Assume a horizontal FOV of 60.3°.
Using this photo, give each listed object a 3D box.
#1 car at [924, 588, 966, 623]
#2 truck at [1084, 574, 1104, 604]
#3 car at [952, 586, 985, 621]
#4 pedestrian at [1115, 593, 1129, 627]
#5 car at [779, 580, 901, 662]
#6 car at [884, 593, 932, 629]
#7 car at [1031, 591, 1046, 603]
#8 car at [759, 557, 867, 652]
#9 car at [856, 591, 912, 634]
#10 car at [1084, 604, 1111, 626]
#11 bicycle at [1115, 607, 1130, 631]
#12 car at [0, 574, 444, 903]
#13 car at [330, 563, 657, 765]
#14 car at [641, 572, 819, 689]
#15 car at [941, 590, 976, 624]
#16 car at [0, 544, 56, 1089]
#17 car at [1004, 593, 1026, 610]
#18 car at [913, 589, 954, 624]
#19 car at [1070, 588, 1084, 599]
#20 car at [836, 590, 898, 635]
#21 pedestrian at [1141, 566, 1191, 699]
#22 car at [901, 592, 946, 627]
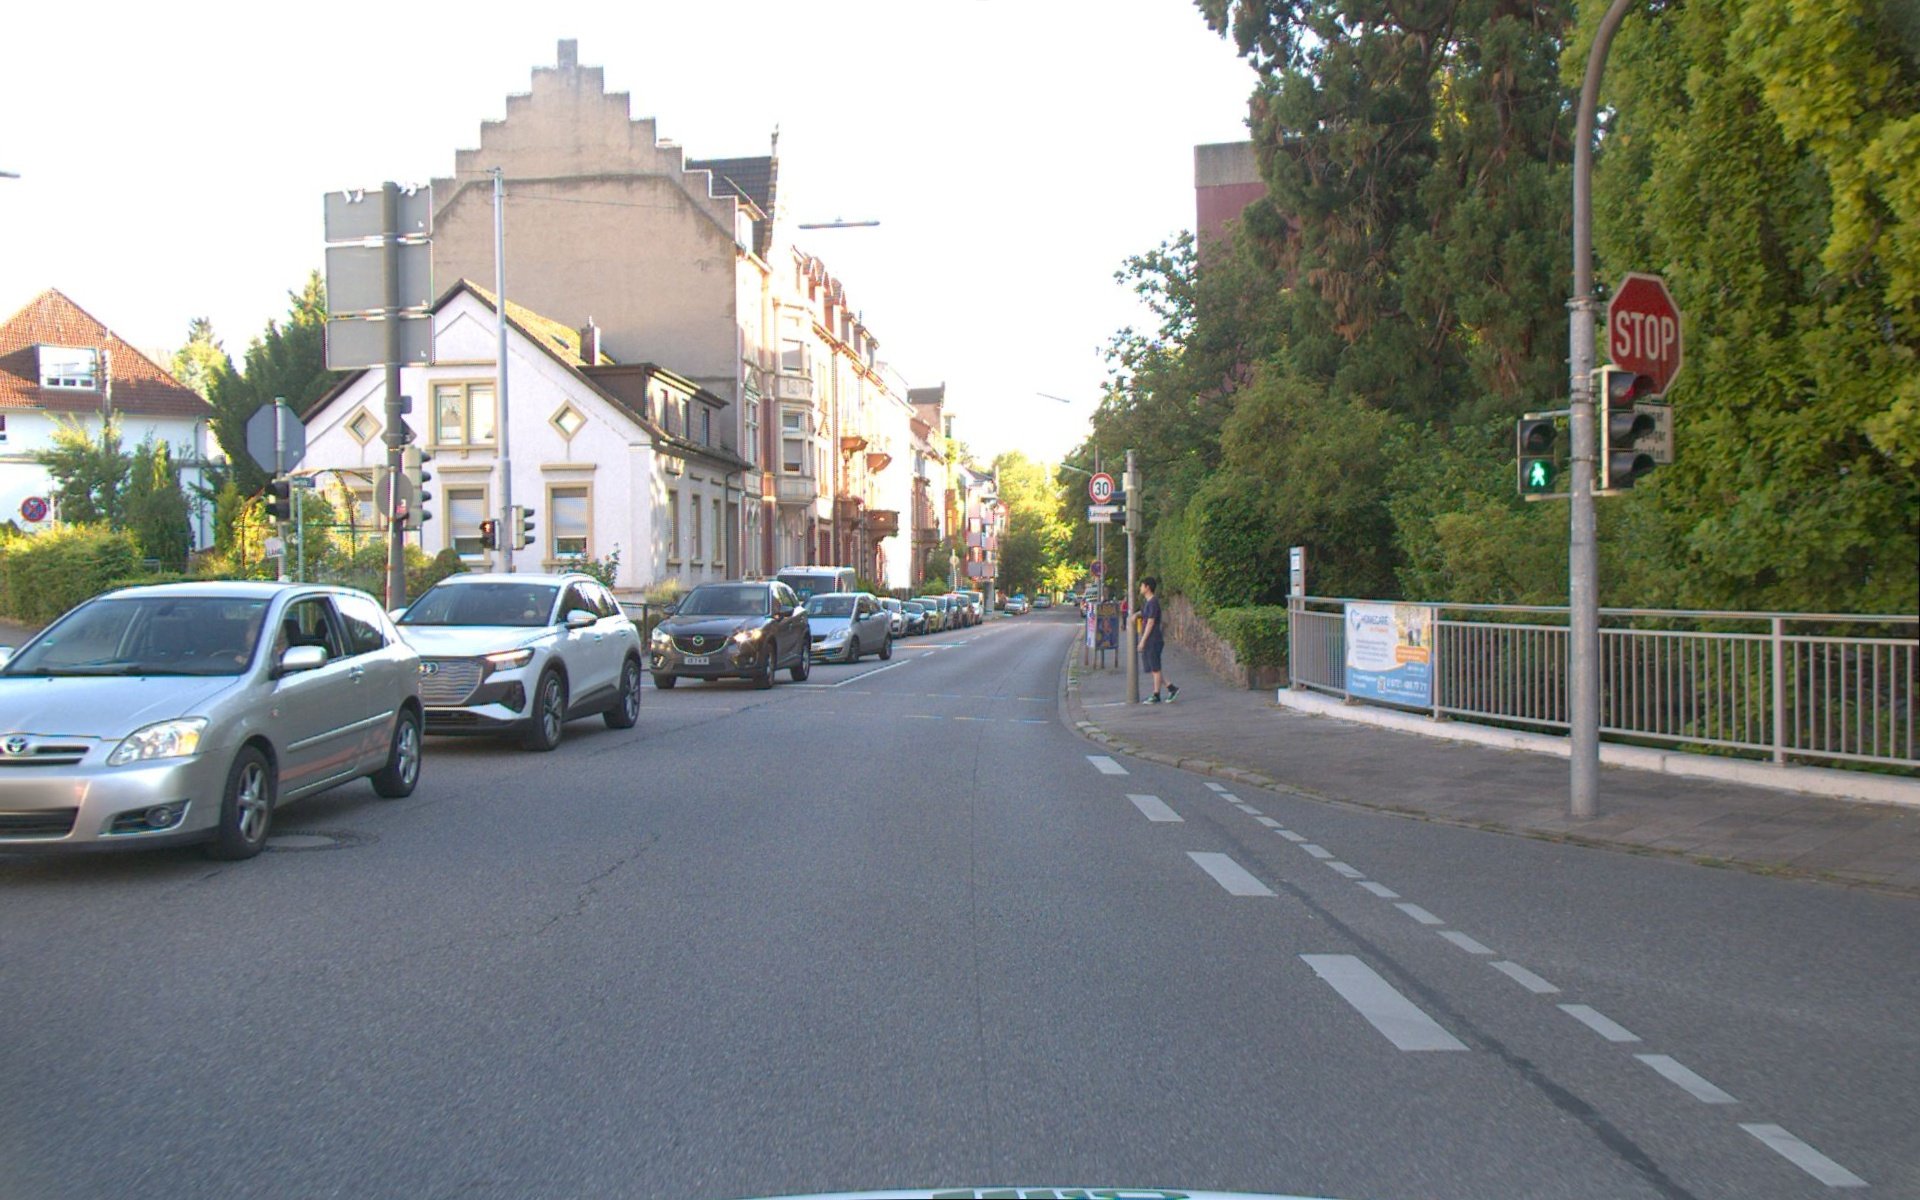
[{"bbox_3d":[-0.741,0.247,84.079,1.666,1.737,4.443,1,1,5],"label":"car"},{"bbox_3d":[13.646,-1.152,169.190,1.951,2.947,4.473,-1,1,4],"label":"truck"},{"bbox_3d":[0.540,0.210,100.153,1.755,2.045,4.700,1,1,3],"label":"car"},{"bbox_3d":[7.058,0.440,72.049,0.585,1.427,0.668,1,1,3],"label":"pedestrian"},{"bbox_3d":[-2.678,0.428,37.867,1.912,1.677,4.287,1,1,8],"label":"car"},{"bbox_3d":[-2.148,0.442,69.185,1.667,1.390,3.861,1,1,3],"label":"car"},{"bbox_3d":[10.838,-0.379,227.467,1.951,1.517,4.473,-1,1,5],"label":"car"},{"bbox_3d":[-4.101,0.097,47.155,2.024,2.503,6.018,1,1,5],"label":"car"},{"bbox_3d":[-2.905,0.459,63.990,1.667,1.563,4.551,1,1,3],"label":"car"},{"bbox_3d":[10.630,1.153,128.028,1.951,1.544,4.003,-1,1,6],"label":"car"},{"bbox_3d":[7.019,0.817,71.438,0.554,0.987,0.492,1,1,0],"label":"bicycle"},{"bbox_3d":[-4.533,0.627,9.859,1.740,1.506,4.095,0,1,-2],"label":"car"},{"bbox_3d":[-4.355,0.491,16.220,1.738,1.677,4.536,1,1,3],"label":"car"},{"bbox_3d":[-3.587,0.414,26.549,1.912,1.677,4.286,1,1,5],"label":"car"},{"bbox_3d":[-0.059,0.355,89.300,1.667,1.769,3.859,1,1,3],"label":"car"},{"bbox_3d":[-3.419,0.661,3.031,1.742,1.569,3.994,0,1,-7],"label":"car"},{"bbox_3d":[5.352,0.115,161.102,1.951,1.517,4.473,-1,1,5],"label":"car"},{"bbox_3d":[-1.268,0.291,79.315,1.667,1.611,3.637,1,1,3],"label":"car"},{"bbox_3d":[16.989,-0.973,240.325,1.952,1.517,4.472,-1,1,2],"label":"car"},{"bbox_3d":[-3.309,0.435,59.532,1.666,1.529,4.023,1,1,5],"label":"car"},{"bbox_3d":[2.736,0.423,22.031,0.589,1.722,0.612,-1,1,3],"label":"pedestrian"},{"bbox_3d":[-1.609,0.433,74.239,1.667,1.529,4.074,1,-1,3],"label":"car"}]
